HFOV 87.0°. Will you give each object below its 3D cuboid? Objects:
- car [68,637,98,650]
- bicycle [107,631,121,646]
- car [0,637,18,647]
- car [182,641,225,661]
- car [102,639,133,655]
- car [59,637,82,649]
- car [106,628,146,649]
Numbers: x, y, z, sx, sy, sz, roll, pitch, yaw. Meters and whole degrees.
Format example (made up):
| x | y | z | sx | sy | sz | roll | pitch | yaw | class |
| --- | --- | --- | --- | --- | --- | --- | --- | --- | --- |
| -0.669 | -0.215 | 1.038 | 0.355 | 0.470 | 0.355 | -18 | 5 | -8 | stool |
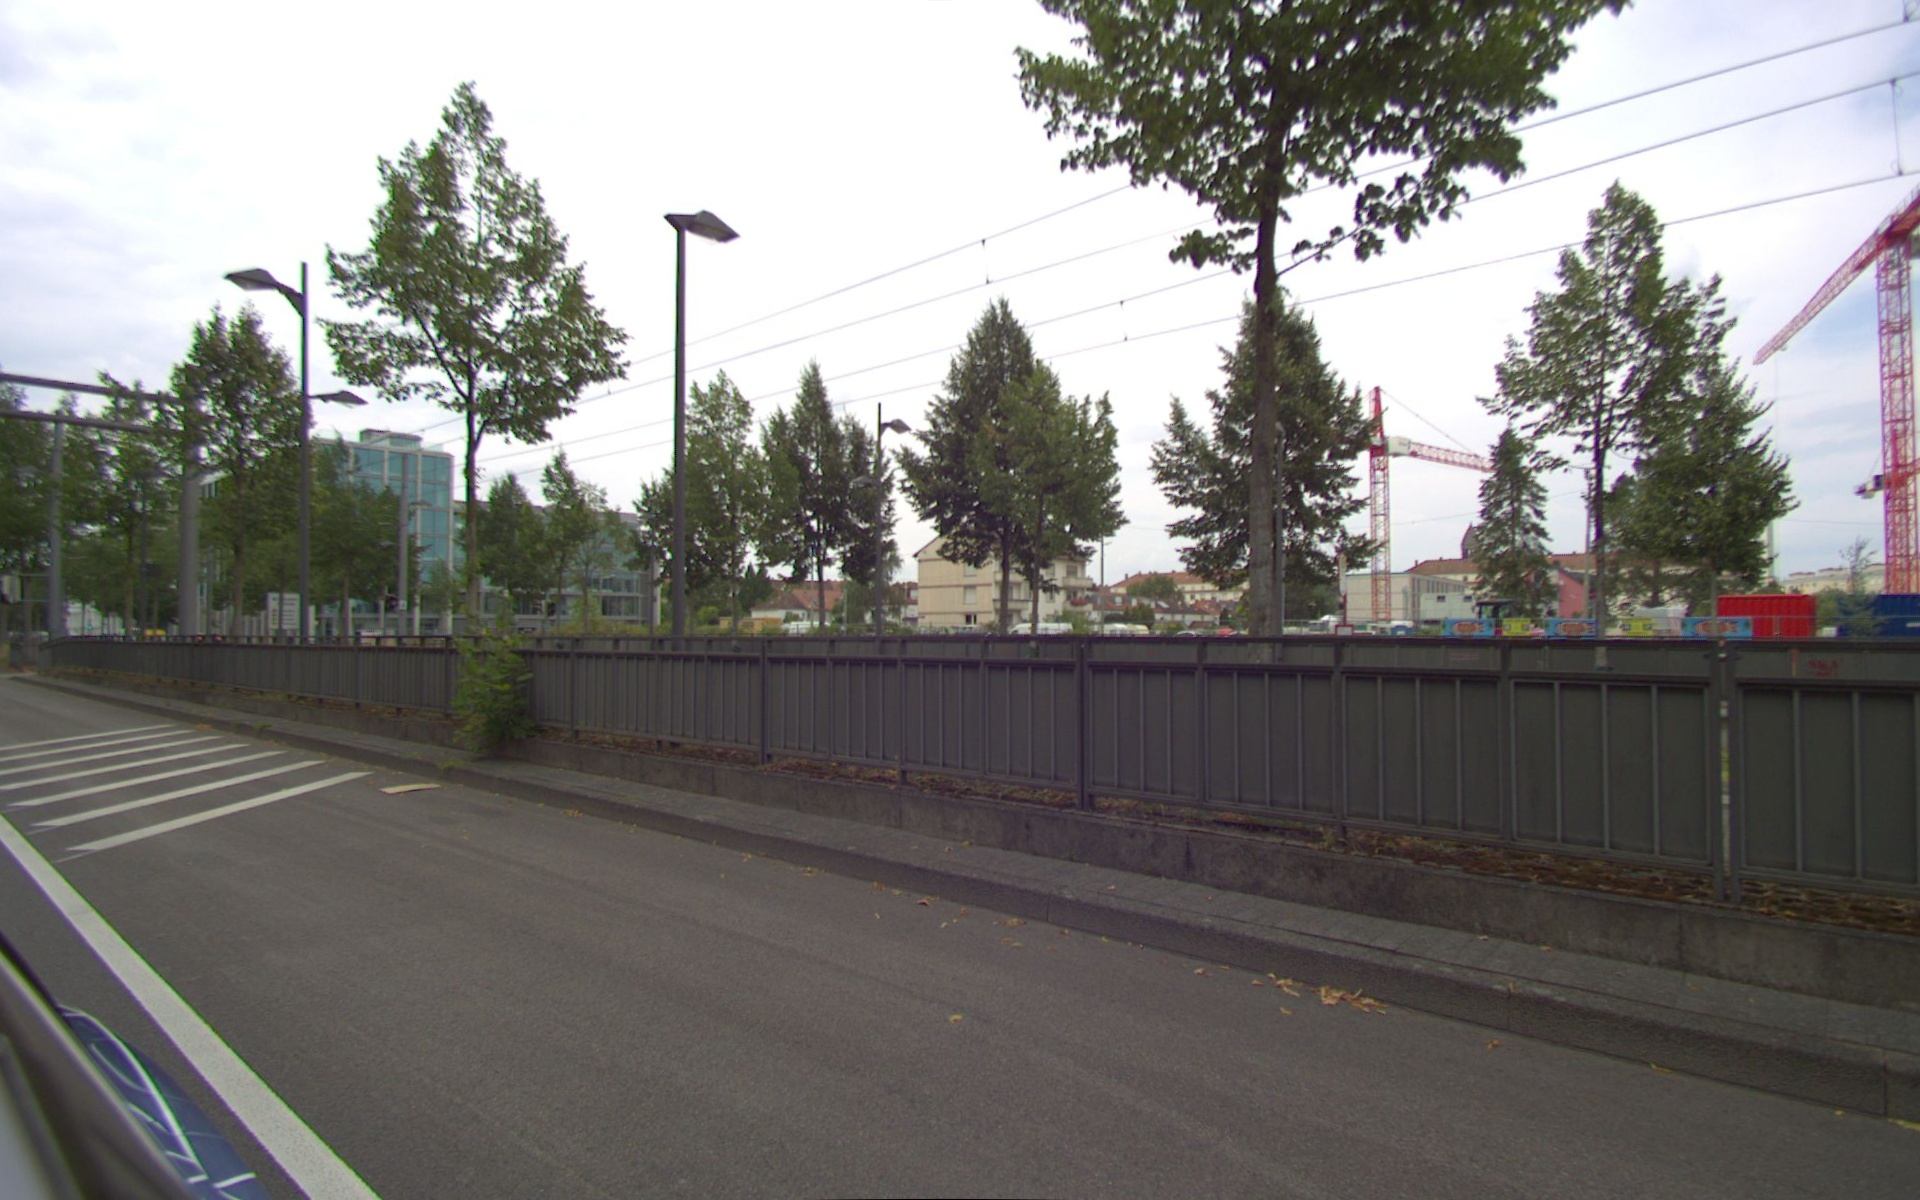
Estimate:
| x | y | z | sx | sy | sz | roll | pitch | yaw | class |
| --- | --- | --- | --- | --- | --- | --- | --- | --- | --- |
| -100.651 | 4.951 | 116.140 | 3.997 | 1.429 | 1.973 | -2 | -3 | 40 | car |
| -87.117 | 3.957 | 104.192 | 2.355 | 1.499 | 0.702 | -3 | -1 | 40 | bicycle |
| -148.534 | 6.551 | 158.075 | 3.864 | 1.468 | 1.729 | -2 | -3 | 42 | car |
| -64.433 | 4.309 | 86.178 | 4.687 | 1.669 | 1.809 | -2 | -3 | 39 | car |
| -82.980 | 4.581 | 99.696 | 3.863 | 1.508 | 1.730 | -2 | -2 | 41 | car |
| -112.288 | 5.466 | 127.754 | 3.864 | 1.468 | 1.729 | -2 | -3 | 42 | car |
| -77.788 | 3.596 | 94.359 | 5.093 | 1.959 | 1.973 | -2 | -3 | 41 | car |
